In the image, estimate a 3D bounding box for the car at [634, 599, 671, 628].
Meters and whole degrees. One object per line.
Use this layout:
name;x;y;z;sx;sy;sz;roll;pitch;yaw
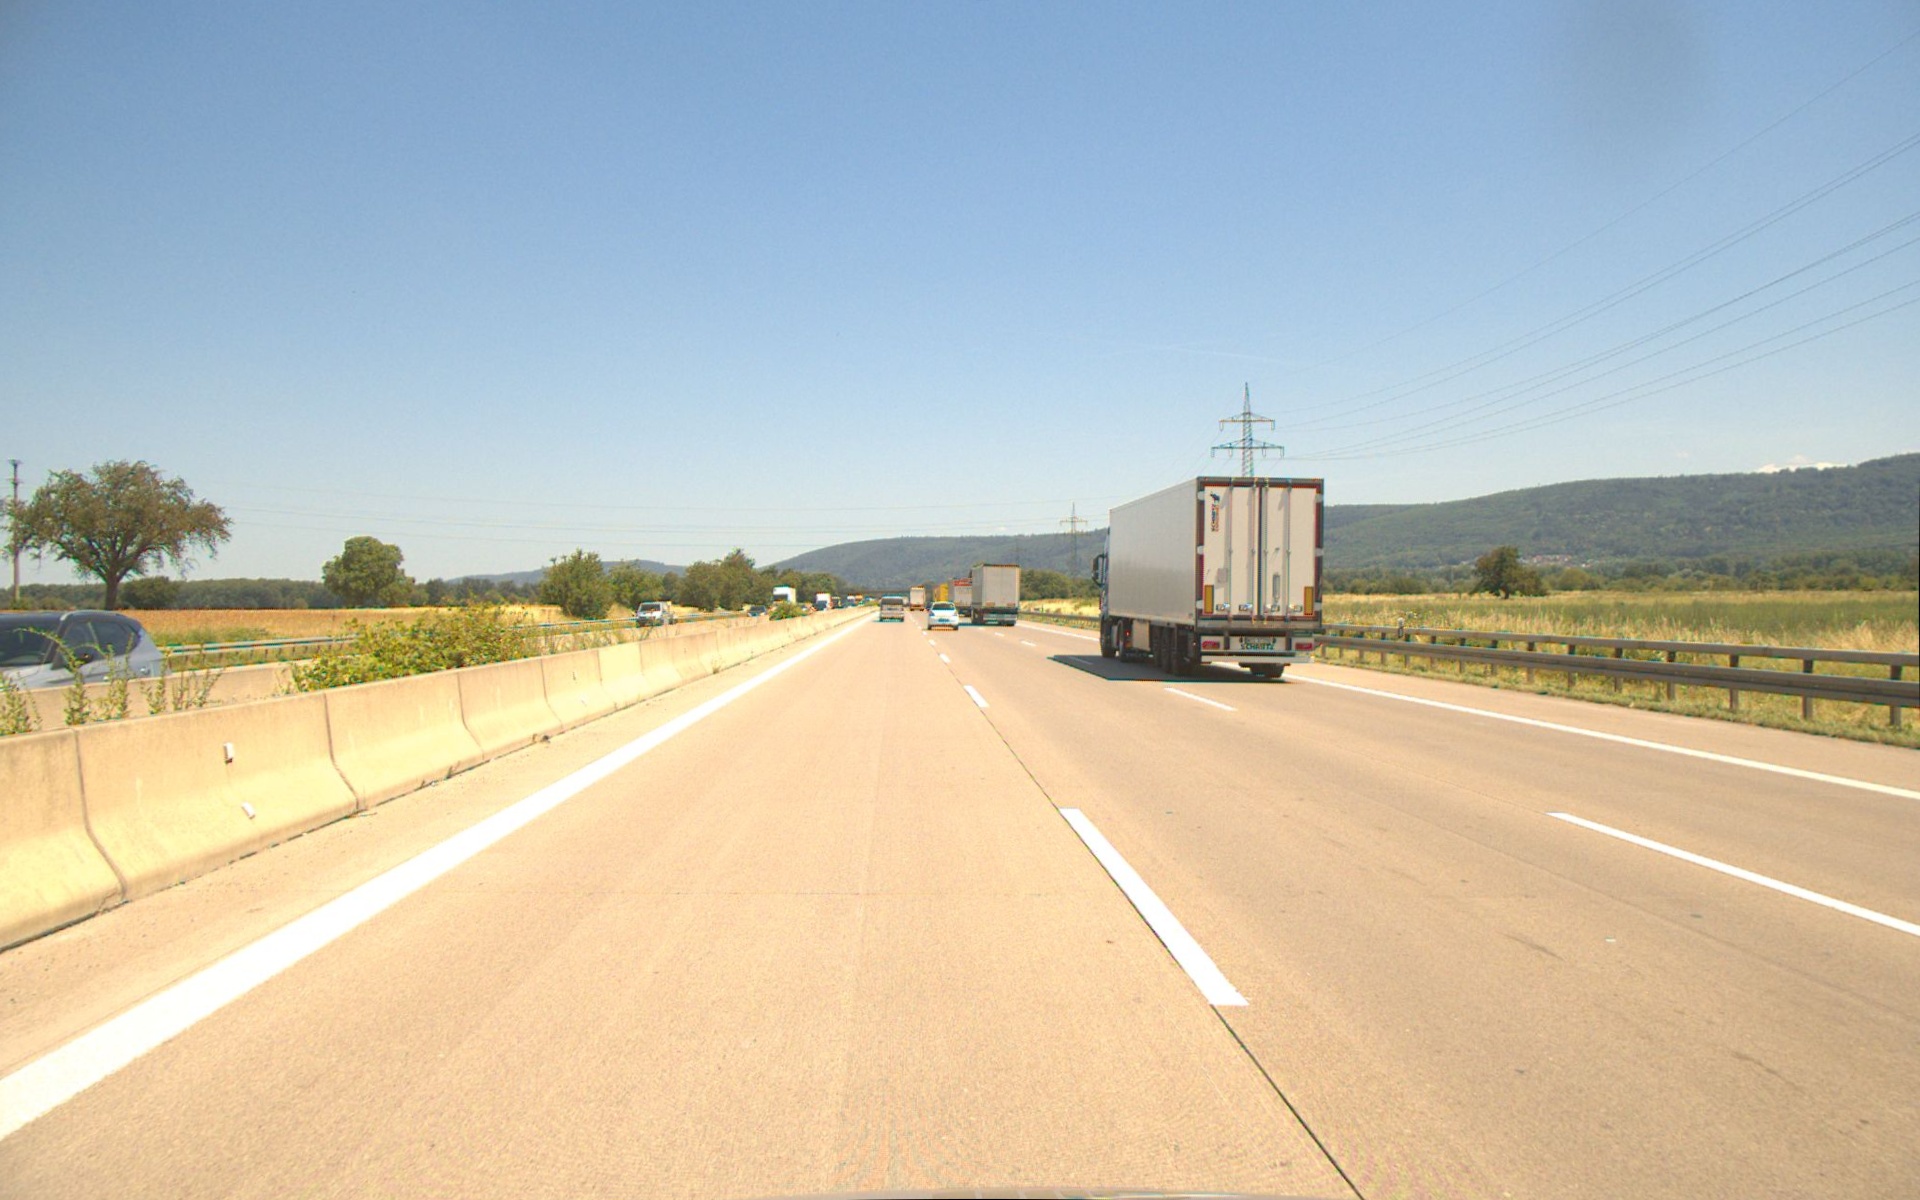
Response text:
car;-22.245;0.956;119.860;1.827;1.978;5.563;1;0;-2

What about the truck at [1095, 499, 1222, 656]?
truck;5.497;-0.591;46.628;2.695;4.114;5.464;1;0;-2

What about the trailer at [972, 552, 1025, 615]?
trailer;2.620;-1.083;116.493;2.957;4.132;14.202;1;0;-2

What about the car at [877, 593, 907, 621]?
car;-5.231;0.540;127.462;2.209;2.049;4.296;1;0;-1

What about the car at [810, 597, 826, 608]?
car;-17.294;0.278;201.310;1.736;1.261;4.675;1;0;-2

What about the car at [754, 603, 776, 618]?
car;-18.878;0.984;160.196;1.678;1.383;5.041;1;0;-3

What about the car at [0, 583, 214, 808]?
car;-9.499;0.854;17.064;1.801;2.049;3.999;1;0;-1

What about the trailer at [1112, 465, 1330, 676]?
trailer;5.733;-0.585;39.003;2.654;4.114;12.897;1;0;-2

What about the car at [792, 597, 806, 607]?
car;-22.011;0.279;226.199;1.701;1.397;4.904;1;0;-3

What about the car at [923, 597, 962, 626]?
car;-0.979;0.609;91.894;2.064;1.563;4.121;1;0;-1

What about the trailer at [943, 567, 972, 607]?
trailer;-0.298;-1.334;179.852;2.815;4.172;13.509;1;0;-1

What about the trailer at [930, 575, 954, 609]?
trailer;-2.686;-1.139;241.627;3.151;4.643;13.451;1;0;-2

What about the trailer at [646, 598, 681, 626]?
trailer;-22.404;0.895;125.139;1.773;2.078;5.611;1;0;-2
